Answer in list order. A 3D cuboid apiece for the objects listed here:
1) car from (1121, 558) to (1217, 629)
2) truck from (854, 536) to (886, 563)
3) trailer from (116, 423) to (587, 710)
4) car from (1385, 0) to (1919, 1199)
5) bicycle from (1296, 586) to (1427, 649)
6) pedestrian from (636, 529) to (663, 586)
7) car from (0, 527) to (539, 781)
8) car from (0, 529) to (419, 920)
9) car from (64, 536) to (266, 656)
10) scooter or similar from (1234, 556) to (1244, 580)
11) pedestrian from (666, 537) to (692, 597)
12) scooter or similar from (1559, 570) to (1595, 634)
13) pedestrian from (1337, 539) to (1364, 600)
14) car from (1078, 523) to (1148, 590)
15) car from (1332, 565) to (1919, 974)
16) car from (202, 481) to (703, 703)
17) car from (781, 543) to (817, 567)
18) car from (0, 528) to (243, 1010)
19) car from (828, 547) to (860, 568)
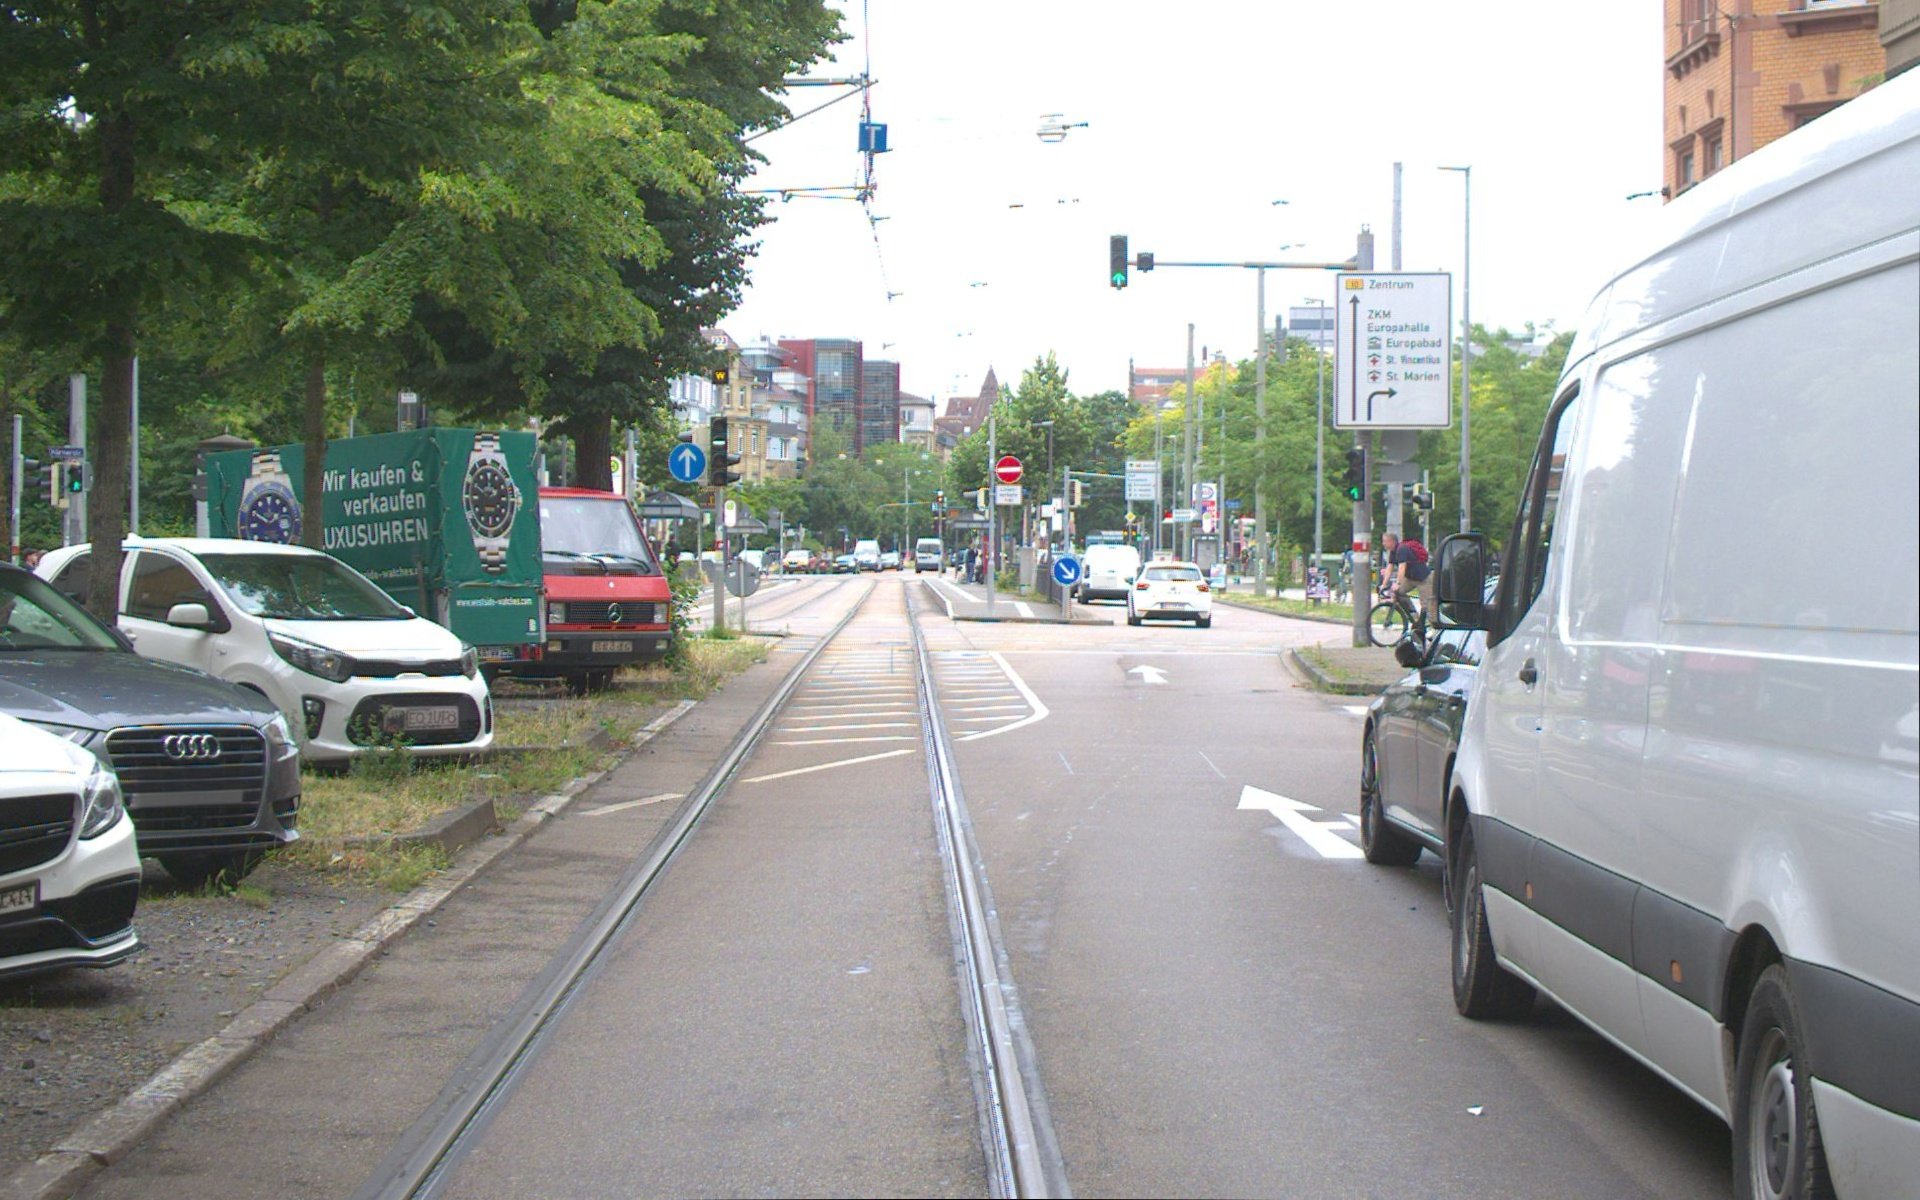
[{"bbox_3d":[4.552,-0.164,75.266,1.782,1.467,4.010,1,1,-1],"label":"car"},{"bbox_3d":[-6.749,-3.792,258.628,1.788,2.026,5.395,1,0,5],"label":"truck"},{"bbox_3d":[-5.280,-0.310,29.758,3.666,2.336,1.927,1,1,32],"label":"trailer"},{"bbox_3d":[2.572,0.176,8.746,2.013,2.540,7.017,2,1,0],"label":"car"},{"bbox_3d":[6.046,0.266,51.802,1.862,0.921,0.796,1,1,-33],"label":"bicycle"},{"bbox_3d":[-9.183,-1.257,101.806,0.768,1.654,1.025,0,1,-4],"label":"pedestrian"},{"bbox_3d":[-4.593,0.279,21.778,3.860,1.458,1.685,1,1,41],"label":"car"},{"bbox_3d":[-4.460,0.413,14.732,4.337,1.430,1.894,1,1,41],"label":"car"},{"bbox_3d":[-9.594,-0.059,41.760,1.644,1.378,3.884,1,0,-2],"label":"car"},{"bbox_3d":[13.258,-1.525,163.463,0.376,1.137,1.199,0,1,10],"label":"scooter or similar"},{"bbox_3d":[-8.043,-0.959,98.459,0.699,1.709,0.699,0,1,-9],"label":"pedestrian"},{"bbox_3d":[11.140,0.028,62.088,0.376,1.137,1.200,0,1,-3],"label":"scooter or similar"},{"bbox_3d":[11.831,-0.927,104.207,0.739,1.863,0.682,0,1,0],"label":"pedestrian"},{"bbox_3d":[4.606,-1.325,103.853,1.782,1.956,4.383,1,1,-1],"label":"car"},{"bbox_3d":[2.834,0.602,15.156,1.824,1.445,5.007,2,1,0],"label":"car"},{"bbox_3d":[-4.879,-0.115,32.690,4.763,1.967,1.955,1,1,38],"label":"car"},{"bbox_3d":[-10.290,-2.849,220.129,1.770,1.488,3.886,1,0,5],"label":"car"},{"bbox_3d":[-4.696,0.460,11.624,4.684,1.430,1.894,1,1,39],"label":"car"},{"bbox_3d":[-8.260,-3.010,244.416,1.770,1.488,3.886,1,0,5],"label":"car"}]
